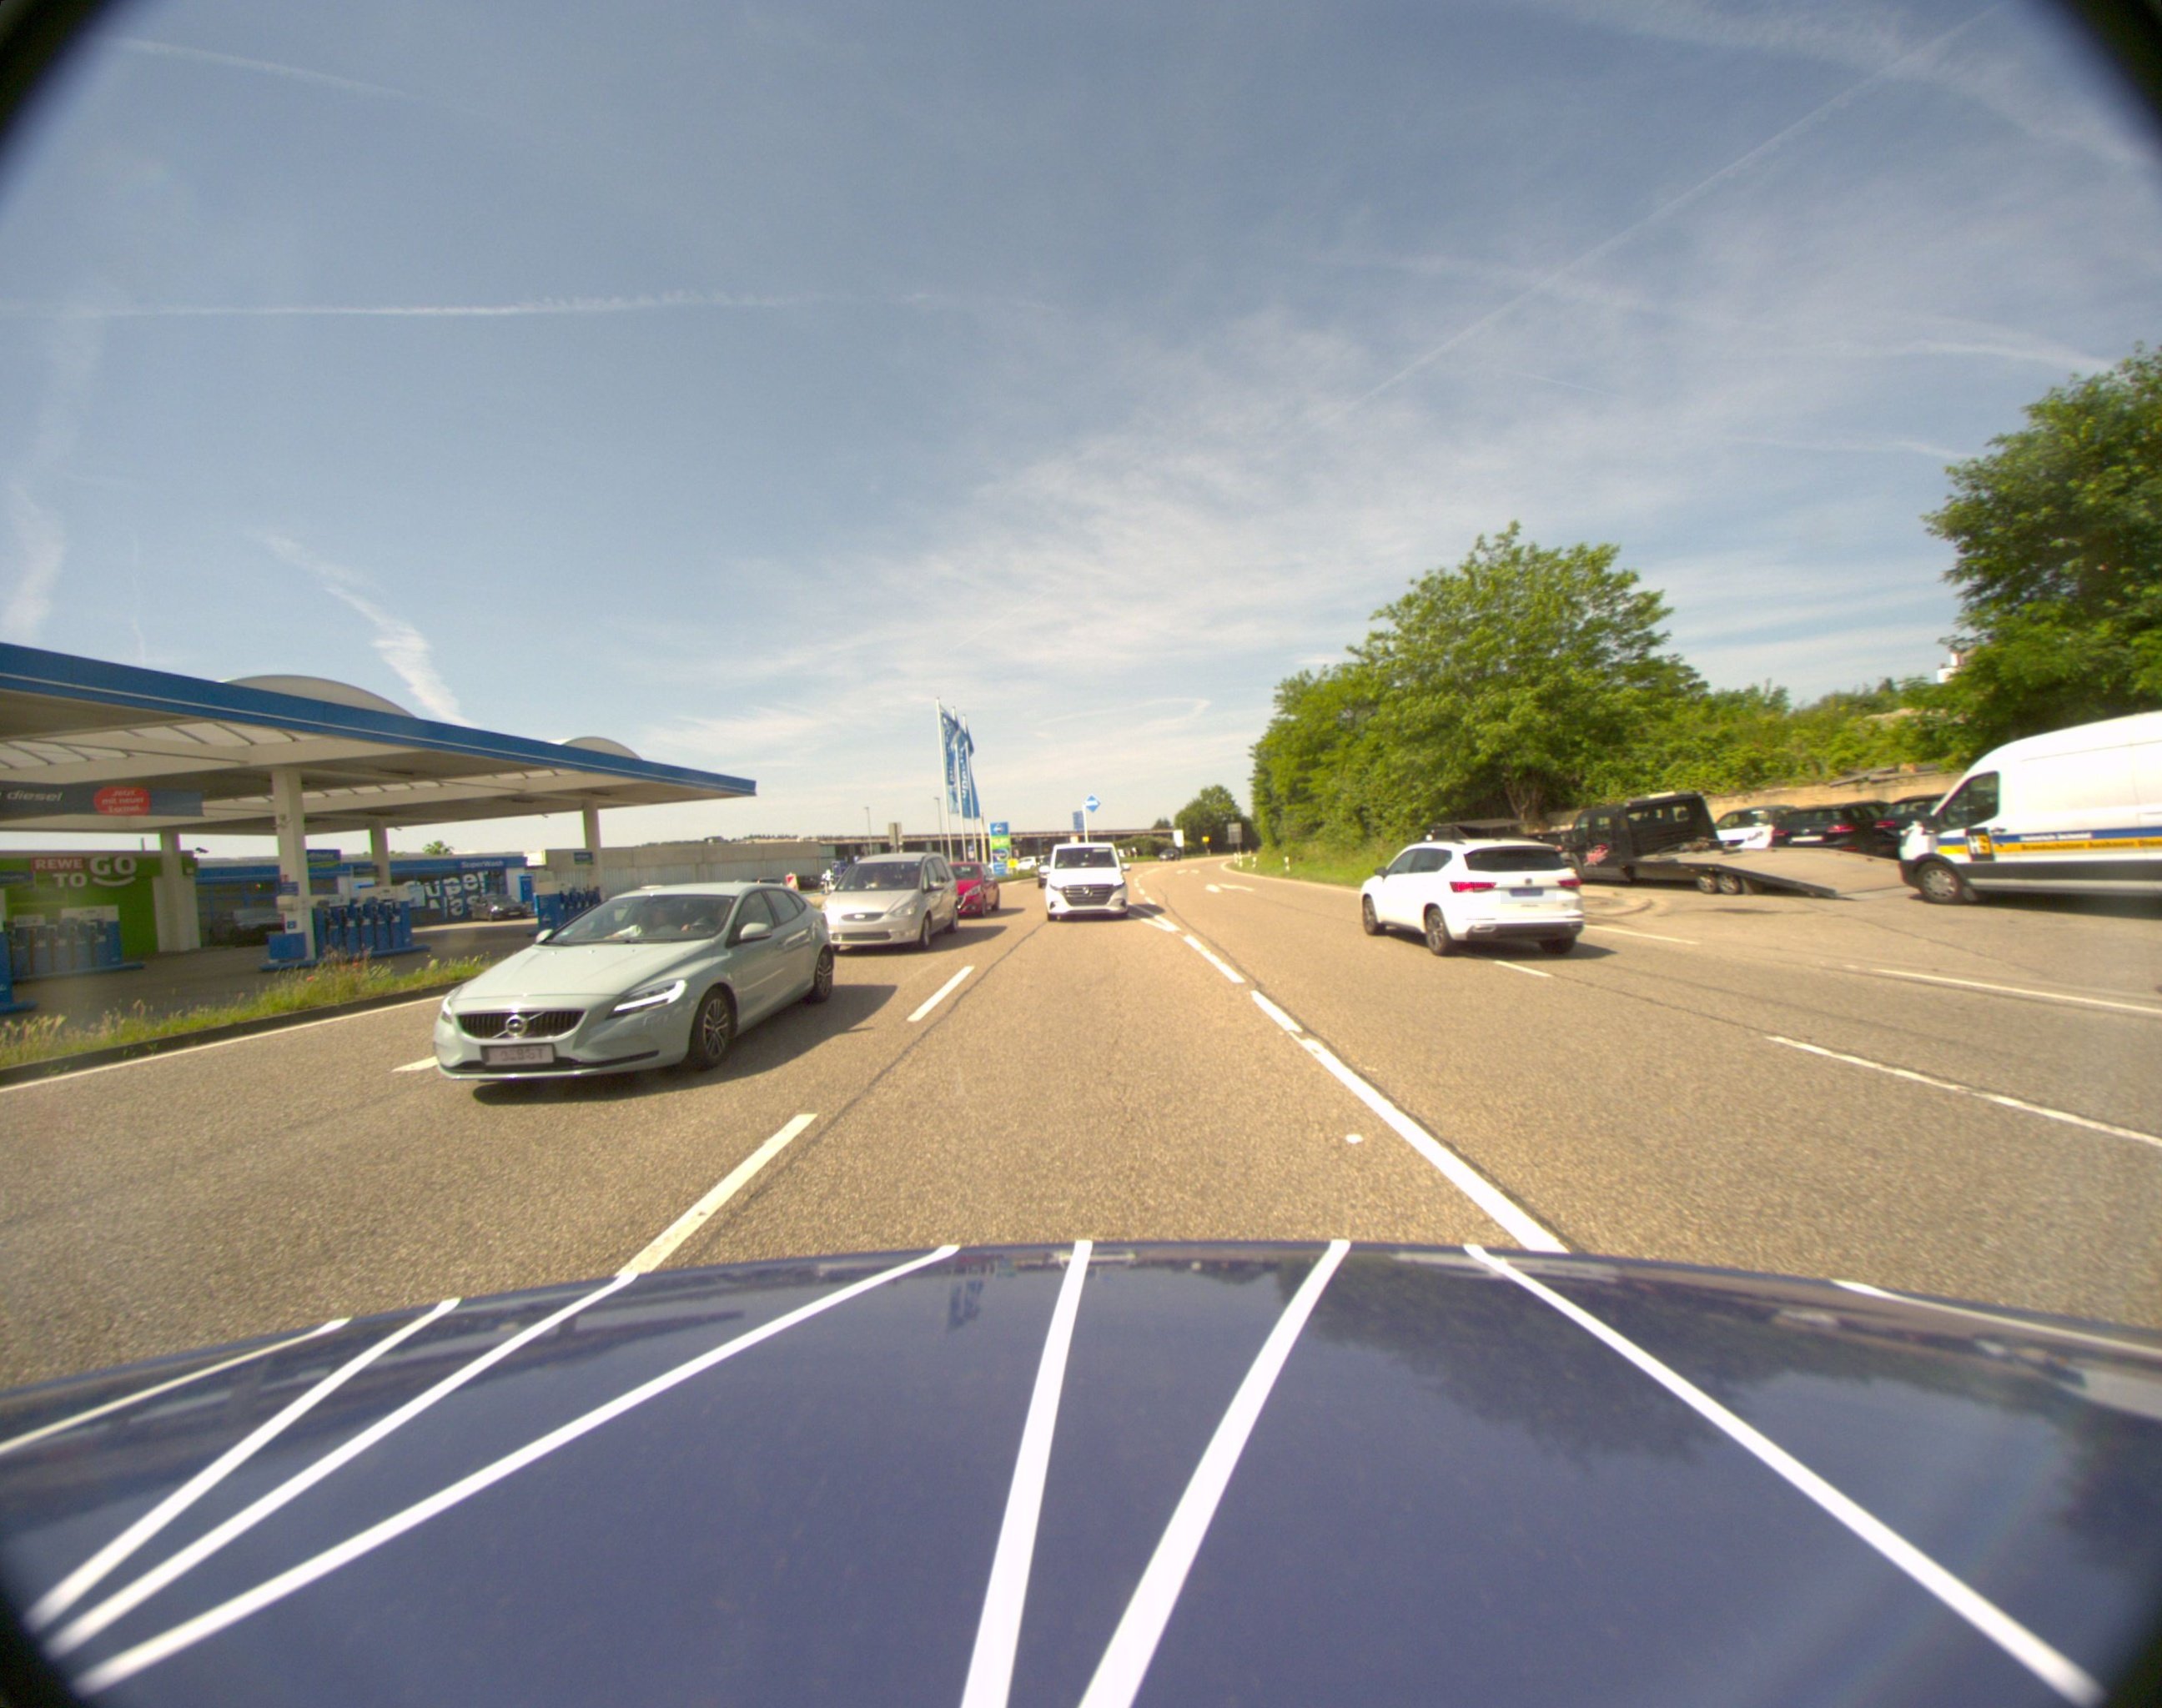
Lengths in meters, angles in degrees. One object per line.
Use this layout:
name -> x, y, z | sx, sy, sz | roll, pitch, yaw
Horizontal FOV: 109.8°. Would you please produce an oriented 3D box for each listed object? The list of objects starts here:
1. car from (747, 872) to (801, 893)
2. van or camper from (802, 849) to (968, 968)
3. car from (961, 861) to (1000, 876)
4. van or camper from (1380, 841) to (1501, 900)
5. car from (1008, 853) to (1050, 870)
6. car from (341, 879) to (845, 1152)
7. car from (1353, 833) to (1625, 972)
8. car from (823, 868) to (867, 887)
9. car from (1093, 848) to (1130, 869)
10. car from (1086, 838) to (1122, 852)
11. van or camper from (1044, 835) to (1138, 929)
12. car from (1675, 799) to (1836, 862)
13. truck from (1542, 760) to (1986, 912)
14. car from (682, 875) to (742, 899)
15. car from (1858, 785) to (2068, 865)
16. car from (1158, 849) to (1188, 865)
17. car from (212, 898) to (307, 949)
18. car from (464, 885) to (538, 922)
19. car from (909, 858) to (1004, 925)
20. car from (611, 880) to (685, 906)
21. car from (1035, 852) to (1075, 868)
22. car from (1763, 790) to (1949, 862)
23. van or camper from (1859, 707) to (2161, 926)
car -> -27.774, 2.589, 68.808 | 1.885, 1.595, 4.028 | -3, 1, 36
van or camper -> -3.494, 0.857, 14.633 | 1.751, 1.777, 5.132 | -4, 0, 0
car -> -12.083, 1.730, 90.936 | 4.454, 1.628, 1.826 | -4, -1, 33
van or camper -> 10.826, 0.430, 23.265 | 1.643, 1.515, 4.467 | -4, 0, 2
car -> -5.811, 0.857, 85.250 | 4.248, 1.628, 1.825 | -4, -1, 27
car -> -3.664, 1.067, 6.806 | 1.740, 1.420, 4.224 | -4, 0, -1
car -> 5.712, 0.589, 11.303 | 1.940, 1.664, 4.000 | -2, 0, 1
car -> -22.789, 2.292, 73.339 | 4.011, 1.595, 1.893 | -3, 1, 35
car -> 2.804, 0.392, 69.423 | 1.865, 1.632, 4.427 | -3, 0, 22
car -> 3.044, -1.165, 99.421 | 4.248, 1.628, 1.825 | -4, -1, 27
van or camper -> 0.158, 0.602, 19.791 | 1.999, 2.002, 5.289 | -3, 1, -2
car -> 18.598, -0.634, 20.963 | 3.674, 1.460, 1.737 | -4, 0, -20
truck -> 14.265, -0.334, 17.322 | 2.336, 2.283, 8.804 | -8, 0, 3
car -> -30.913, 2.740, 63.722 | 1.885, 1.595, 4.028 | -3, 1, 31
car -> 19.055, -0.613, 16.443 | 3.674, 1.460, 1.737 | -4, 0, -20
car -> 11.285, 0.375, 93.143 | 1.864, 1.632, 4.429 | -3, 1, 33
car -> -36.232, 3.093, 33.498 | 4.723, 1.815, 1.906 | -6, 1, 33
car -> -32.489, 2.763, 42.536 | 4.161, 1.815, 1.893 | -3, 1, 33
car -> -3.313, 0.959, 20.976 | 1.805, 1.563, 3.714 | -2, 0, 3
car -> -33.473, 2.967, 58.890 | 1.886, 1.595, 4.537 | -3, 1, 29
car -> -3.096, 0.661, 89.317 | 4.248, 1.628, 1.825 | -4, -1, 27
car -> 18.657, -0.656, 18.312 | 3.674, 1.460, 1.737 | -4, 0, -20
van or camper -> 13.469, -0.559, 9.437 | 2.158, 2.484, 5.954 | -7, 0, 12
